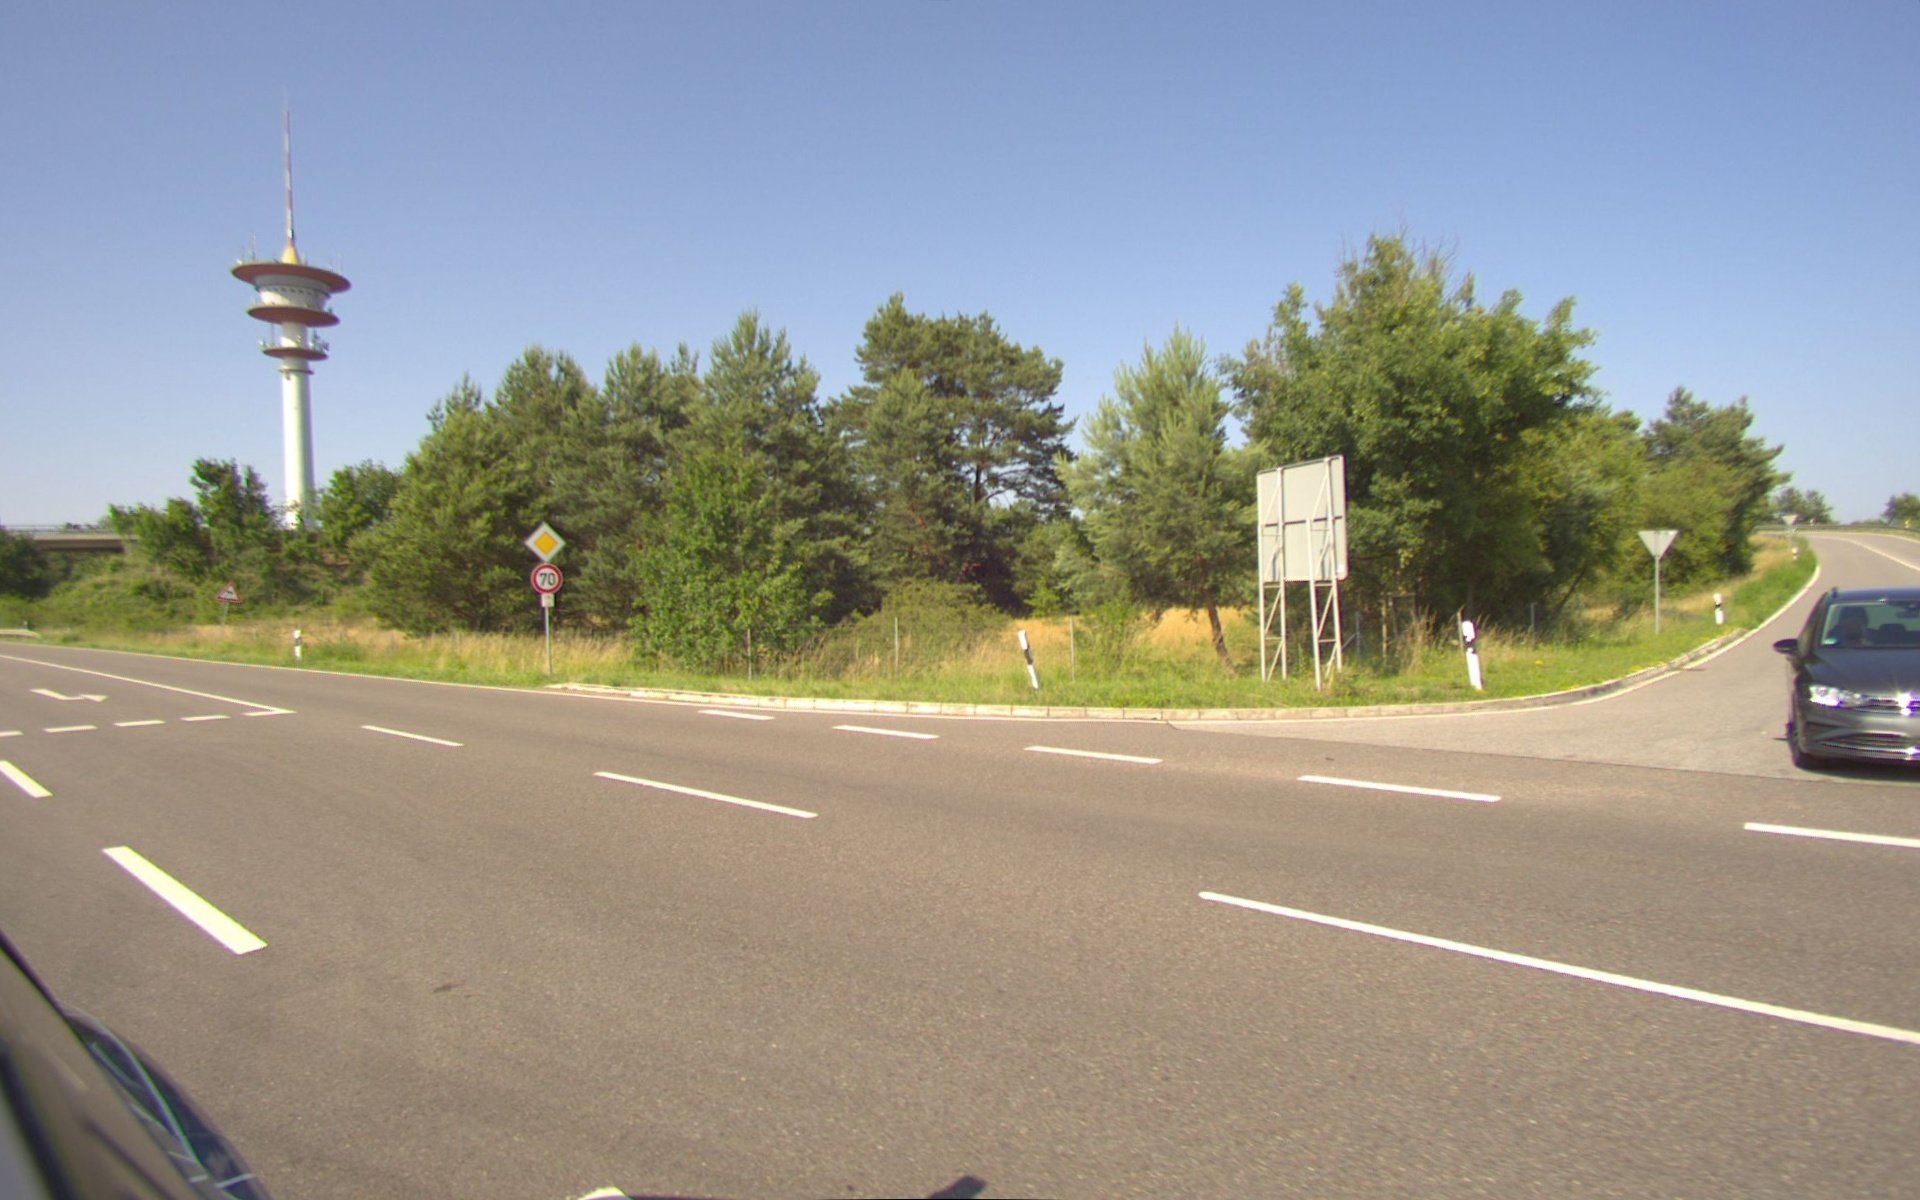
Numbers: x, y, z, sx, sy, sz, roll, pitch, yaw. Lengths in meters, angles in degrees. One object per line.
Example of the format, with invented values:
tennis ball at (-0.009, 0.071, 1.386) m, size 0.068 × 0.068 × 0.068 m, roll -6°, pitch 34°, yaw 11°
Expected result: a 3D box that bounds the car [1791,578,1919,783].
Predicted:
car at (8.727, 0.615, 9.074) m, size 1.868 × 1.553 × 4.023 m, roll -1°, pitch -1°, yaw 38°
